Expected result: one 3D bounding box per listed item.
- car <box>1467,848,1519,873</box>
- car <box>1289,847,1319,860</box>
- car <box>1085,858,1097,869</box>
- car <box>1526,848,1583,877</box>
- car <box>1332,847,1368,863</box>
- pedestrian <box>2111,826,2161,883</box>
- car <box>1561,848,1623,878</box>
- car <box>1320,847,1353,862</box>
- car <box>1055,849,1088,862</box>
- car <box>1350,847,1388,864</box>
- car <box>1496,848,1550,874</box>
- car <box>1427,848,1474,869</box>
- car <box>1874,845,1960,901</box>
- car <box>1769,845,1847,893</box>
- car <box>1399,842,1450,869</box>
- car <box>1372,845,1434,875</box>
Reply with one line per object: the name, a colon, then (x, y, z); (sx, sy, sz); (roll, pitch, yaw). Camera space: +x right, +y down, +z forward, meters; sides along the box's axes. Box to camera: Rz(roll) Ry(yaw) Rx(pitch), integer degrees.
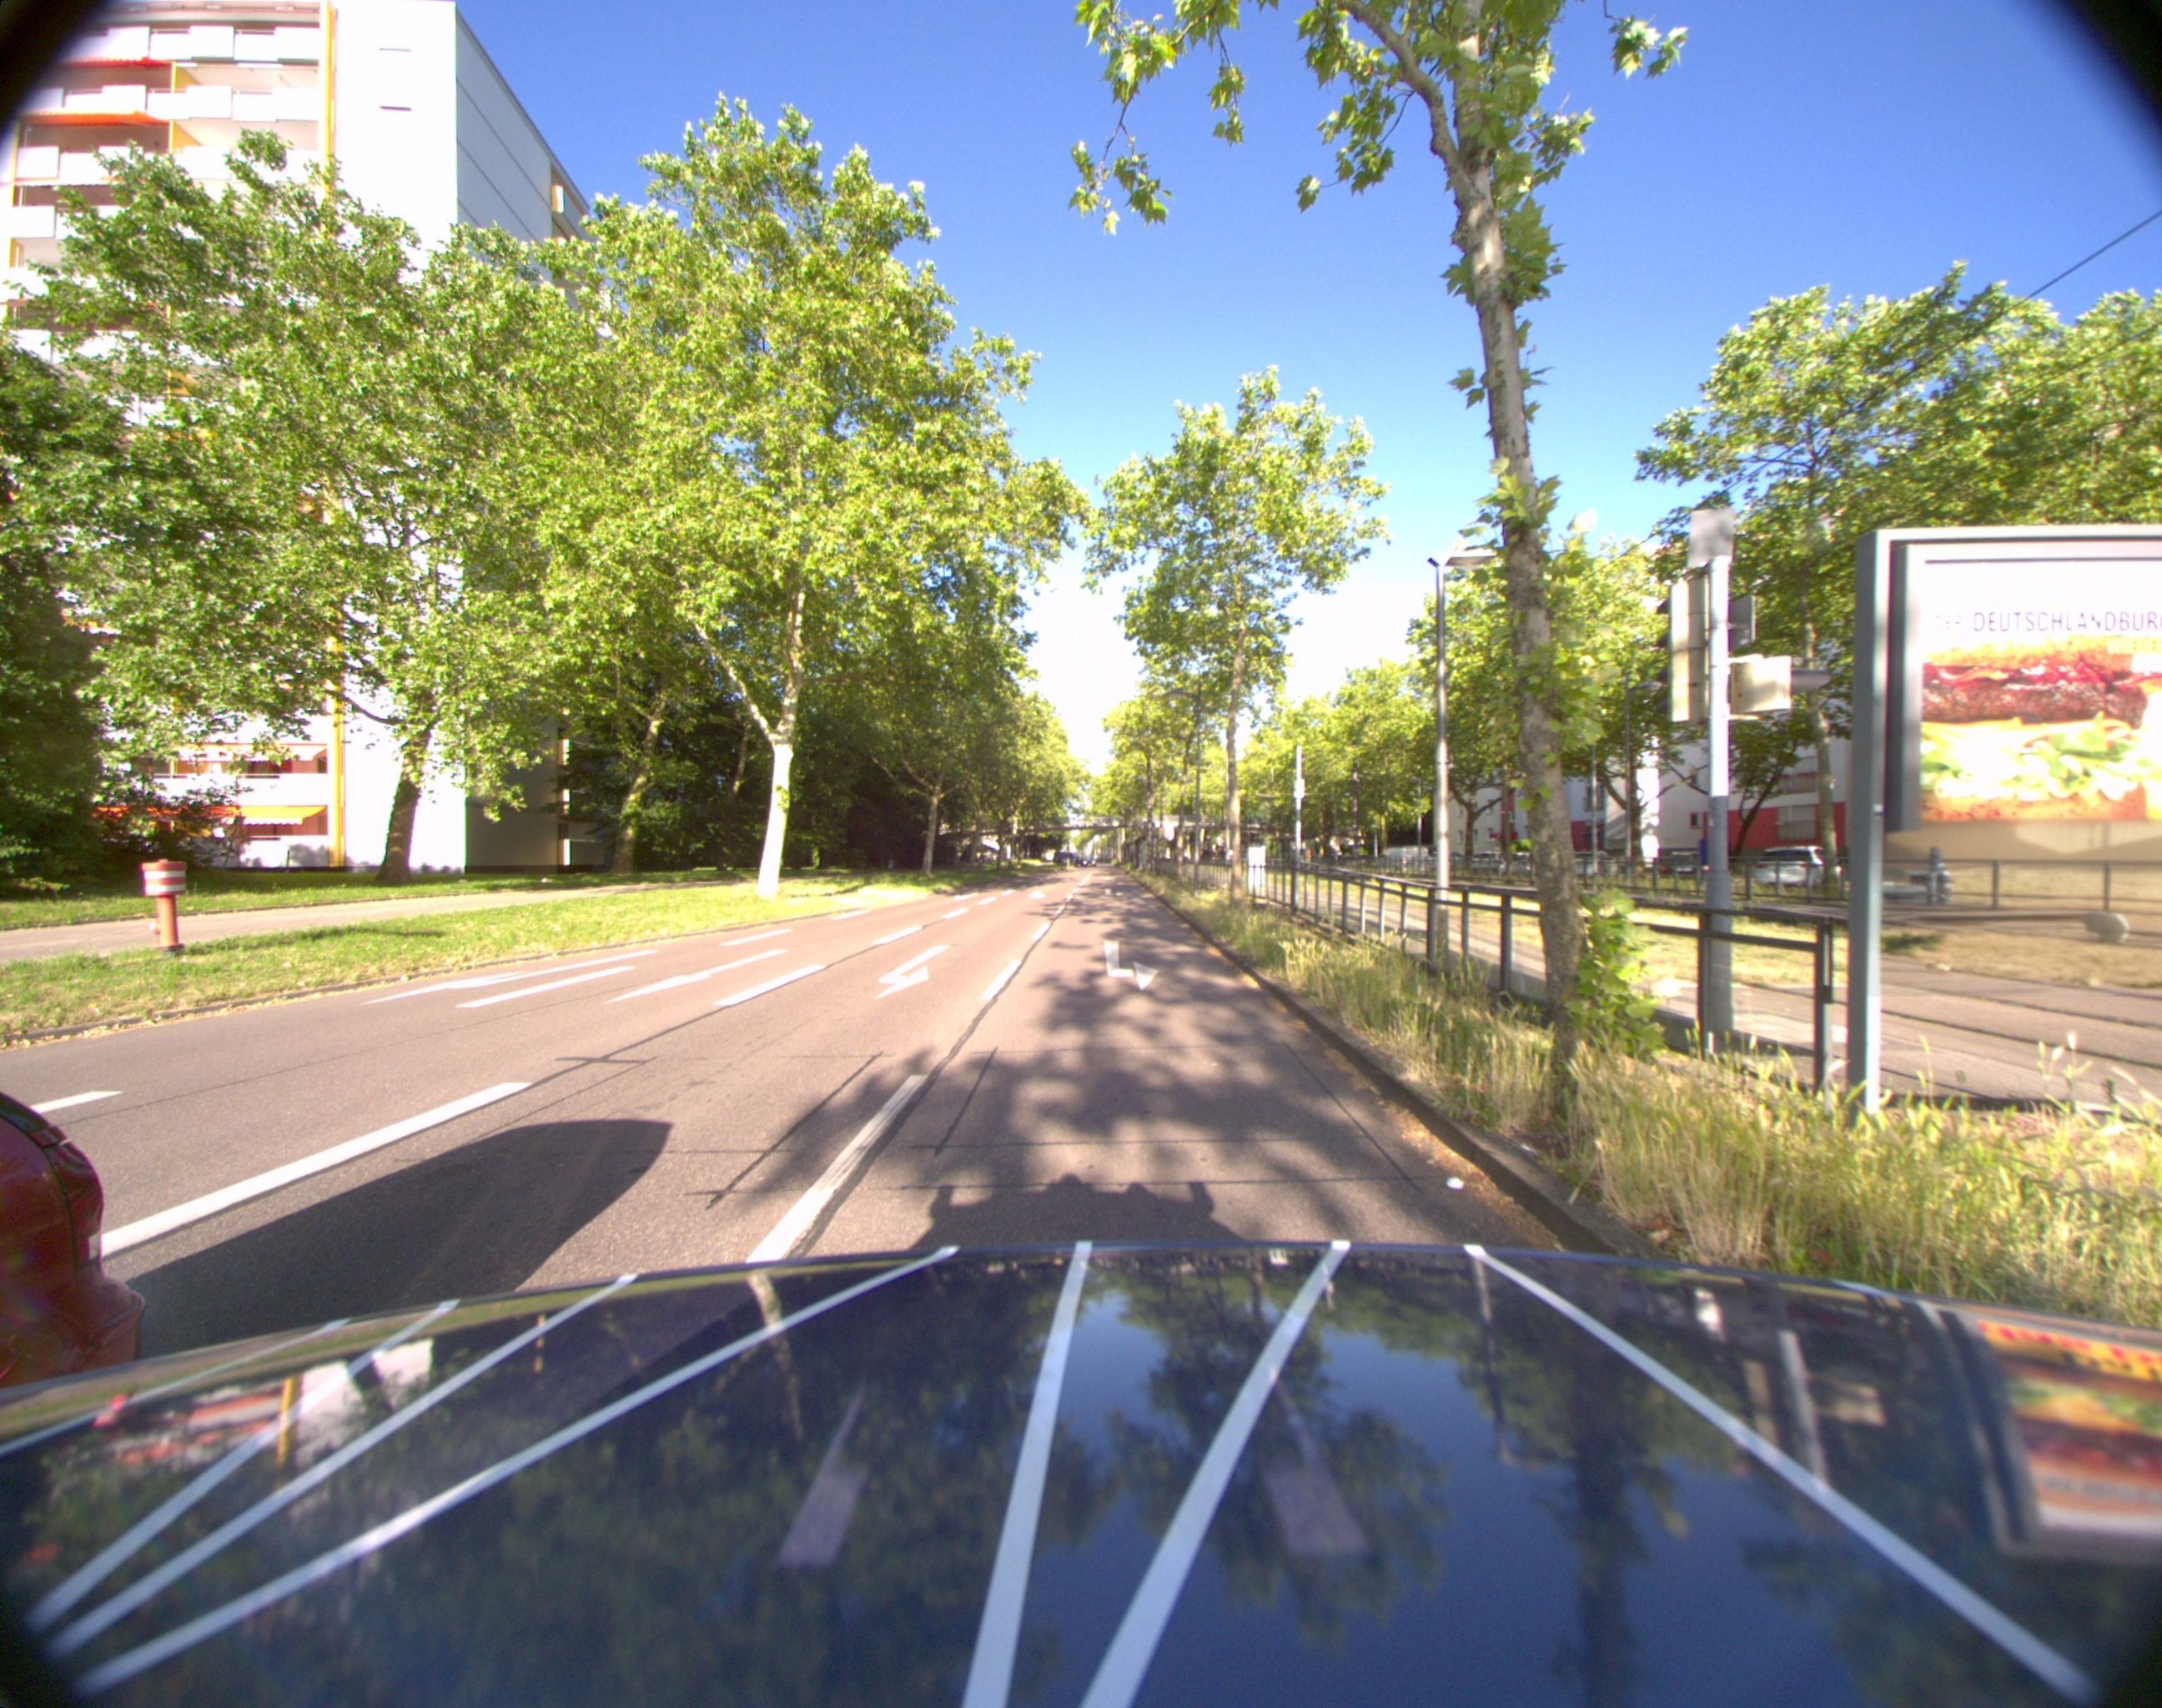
car: (25.852, 0.396, 47.669); (3.811, 1.433, 1.652); (-2, 0, -42)
car: (26.441, -0.049, 89.965); (3.811, 1.433, 1.652); (-2, 0, -42)
car: (1.353, 1.283, 105.855); (1.580, 1.395, 3.638); (-2, 0, 0)
car: (25.864, 0.441, 41.469); (3.811, 1.433, 1.652); (-2, 0, -42)
car: (26.067, 0.132, 73.555); (3.811, 1.433, 1.652); (-2, 0, -42)
pedestrian: (32.481, 0.010, 23.278); (0.764, 1.723, 0.786); (-2, 1, -1)
car: (25.383, 0.446, 37.688); (3.811, 1.348, 1.652); (-2, 0, -42)
car: (26.788, 0.044, 79.615); (3.811, 1.433, 1.652); (-2, 0, -42)
car: (-1.495, 0.283, 117.511); (4.709, 1.924, 1.910); (-1, 0, 21)
car: (26.620, 0.134, 70.124); (3.811, 1.433, 1.652); (-2, 0, -42)
car: (26.099, 0.405, 44.854); (3.811, 1.433, 1.652); (-2, 0, -42)
car: (26.303, 0.309, 54.022); (3.811, 1.433, 1.652); (-2, 0, -42)
car: (25.244, 0.522, 22.956); (3.811, 1.501, 1.652); (-2, 0, -42)
car: (25.357, 0.488, 26.465); (3.811, 1.501, 1.652); (-2, 0, -42)
car: (25.819, 0.088, 57.020); (4.330, 1.863, 1.836); (-2, 0, -42)
car: (20.397, 0.359, 48.349); (1.832, 1.811, 4.902); (-2, 0, 0)
